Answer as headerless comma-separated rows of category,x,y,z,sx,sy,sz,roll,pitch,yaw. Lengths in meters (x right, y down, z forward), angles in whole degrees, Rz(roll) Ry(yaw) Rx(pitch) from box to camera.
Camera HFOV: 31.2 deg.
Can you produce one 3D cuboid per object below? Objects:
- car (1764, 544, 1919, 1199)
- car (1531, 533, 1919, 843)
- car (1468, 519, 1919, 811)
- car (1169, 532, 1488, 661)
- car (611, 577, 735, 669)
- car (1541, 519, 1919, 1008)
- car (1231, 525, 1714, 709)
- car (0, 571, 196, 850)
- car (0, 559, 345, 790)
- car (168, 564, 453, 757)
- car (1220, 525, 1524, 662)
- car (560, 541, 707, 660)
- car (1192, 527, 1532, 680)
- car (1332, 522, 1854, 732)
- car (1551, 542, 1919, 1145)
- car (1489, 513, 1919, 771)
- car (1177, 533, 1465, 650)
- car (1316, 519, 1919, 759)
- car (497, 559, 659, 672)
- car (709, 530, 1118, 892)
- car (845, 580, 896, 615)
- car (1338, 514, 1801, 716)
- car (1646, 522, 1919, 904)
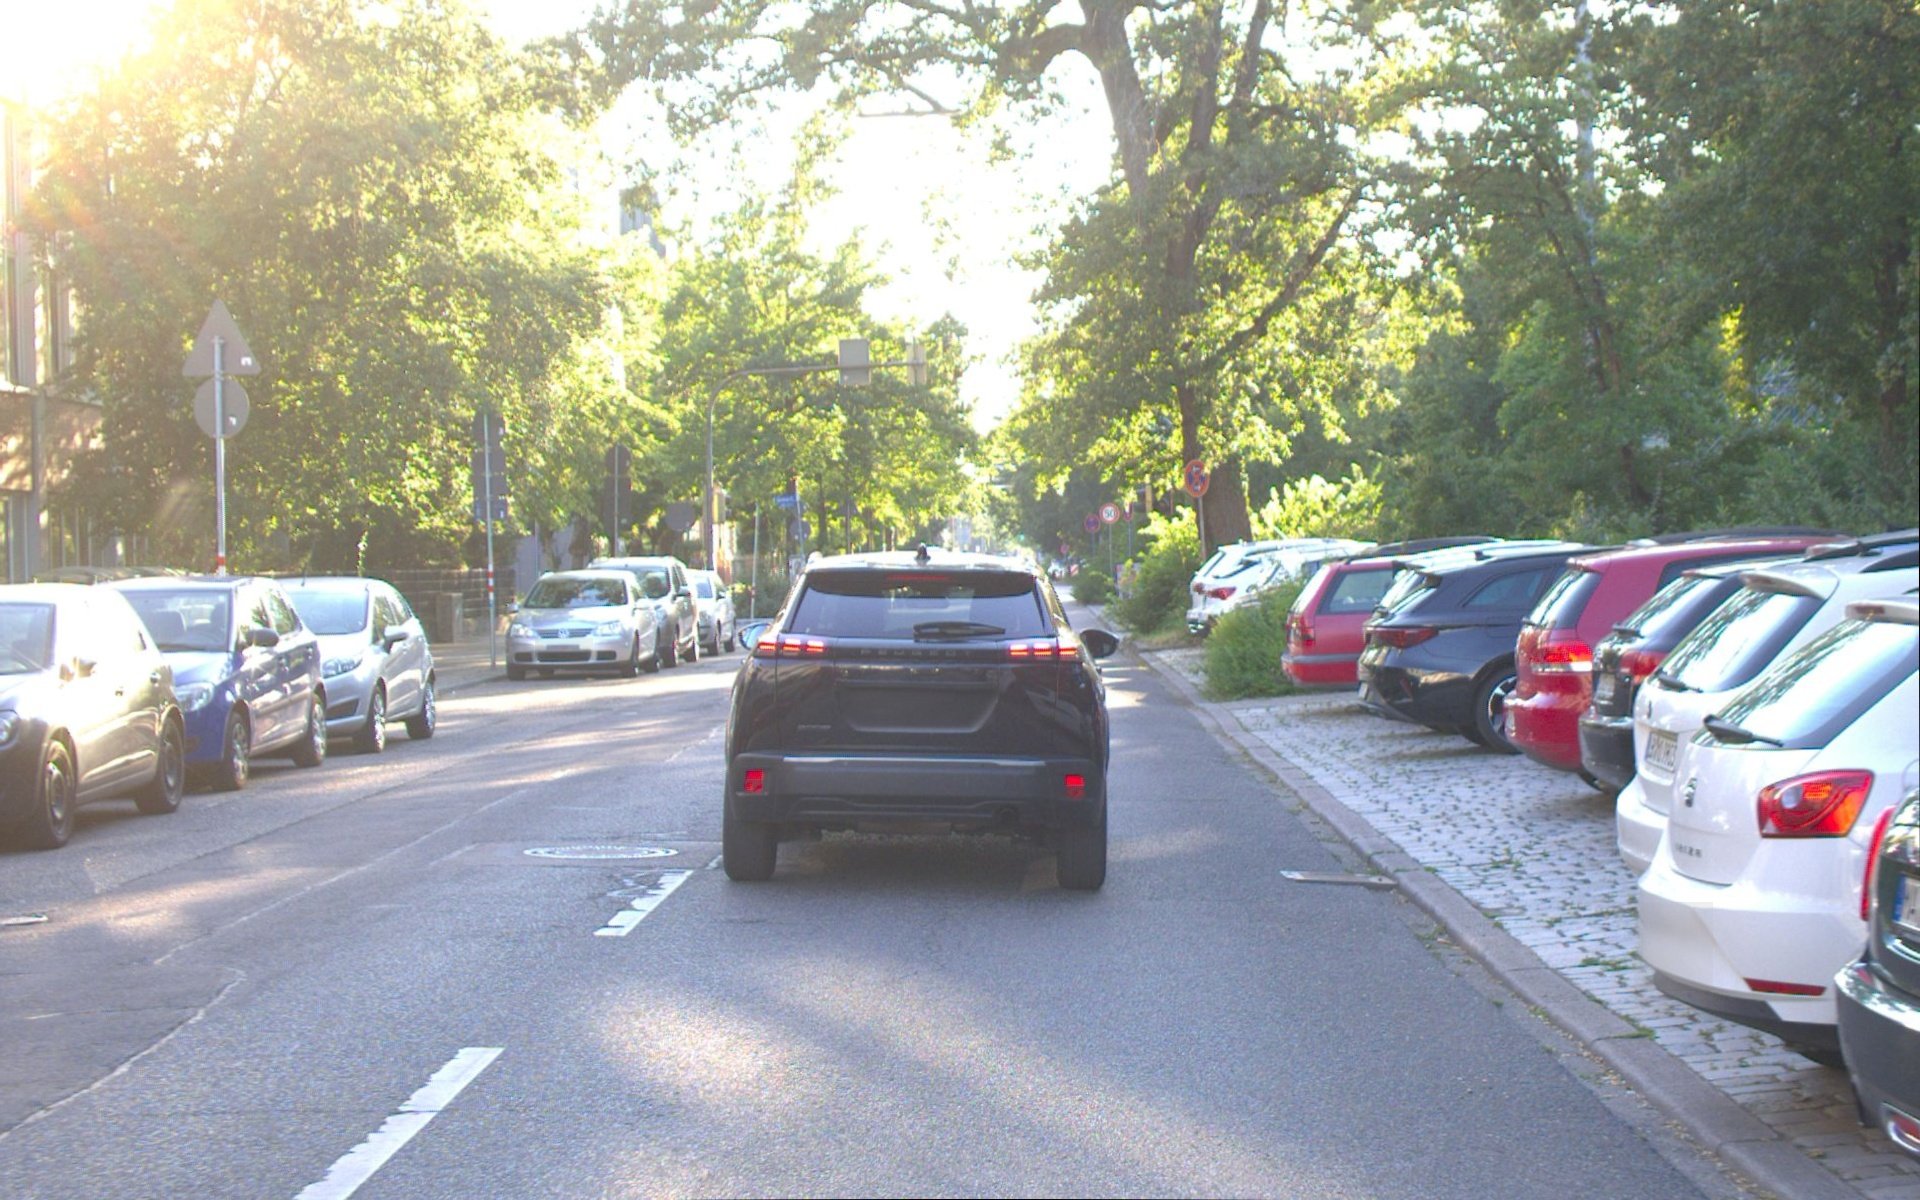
car,3.712,0.542,7.115,3.610,1.520,1.672,-4,1,0
car,4.934,0.358,17.375,3.749,1.390,1.756,-4,0,2
car,4.992,0.314,19.824,3.807,1.470,1.756,-4,0,2
car,4.918,-0.058,46.240,4.122,1.661,1.723,0,1,1
car,-4.923,0.371,59.362,1.679,1.452,3.882,-2,1,2
car,4.104,0.449,12.272,3.666,1.547,1.735,-4,1,0
car,4.845,0.143,32.926,4.338,1.470,1.742,-3,1,2
car,-5.771,0.594,20.234,1.598,1.450,4.055,-2,1,0
car,-5.748,0.486,25.131,1.598,1.502,3.787,-2,1,3
car,-5.509,0.471,29.575,1.601,1.488,3.772,-2,1,2
car,5.202,-0.072,43.757,3.588,1.561,1.818,-2,-1,0
car,-4.982,-0.019,52.964,1.679,1.702,4.340,-2,1,2
car,4.798,0.024,41.318,3.744,1.589,1.697,-3,1,-3
car,5.119,0.210,28.202,3.924,1.449,1.832,-3,0,3
car,3.654,0.508,9.434,3.666,1.440,1.735,-4,1,0
car,5.547,0.225,22.582,3.807,1.470,1.832,-4,0,2
car,5.330,-0.132,50.969,4.171,1.704,1.867,0,0,5
car,4.776,0.275,25.267,4.120,1.470,1.832,-3,0,3
car,-5.235,0.192,47.544,1.671,1.489,4.061,0,0,2
car,-0.238,0.465,16.764,1.768,1.563,3.381,1,1,-1
car,-3.564,-0.111,136.299,1.810,1.349,4.001,-1,0,-4
car,5.398,0.127,30.760,3.711,1.550,1.742,-3,0,-2
car,5.014,0.364,14.742,3.725,1.493,1.820,-4,0,2
